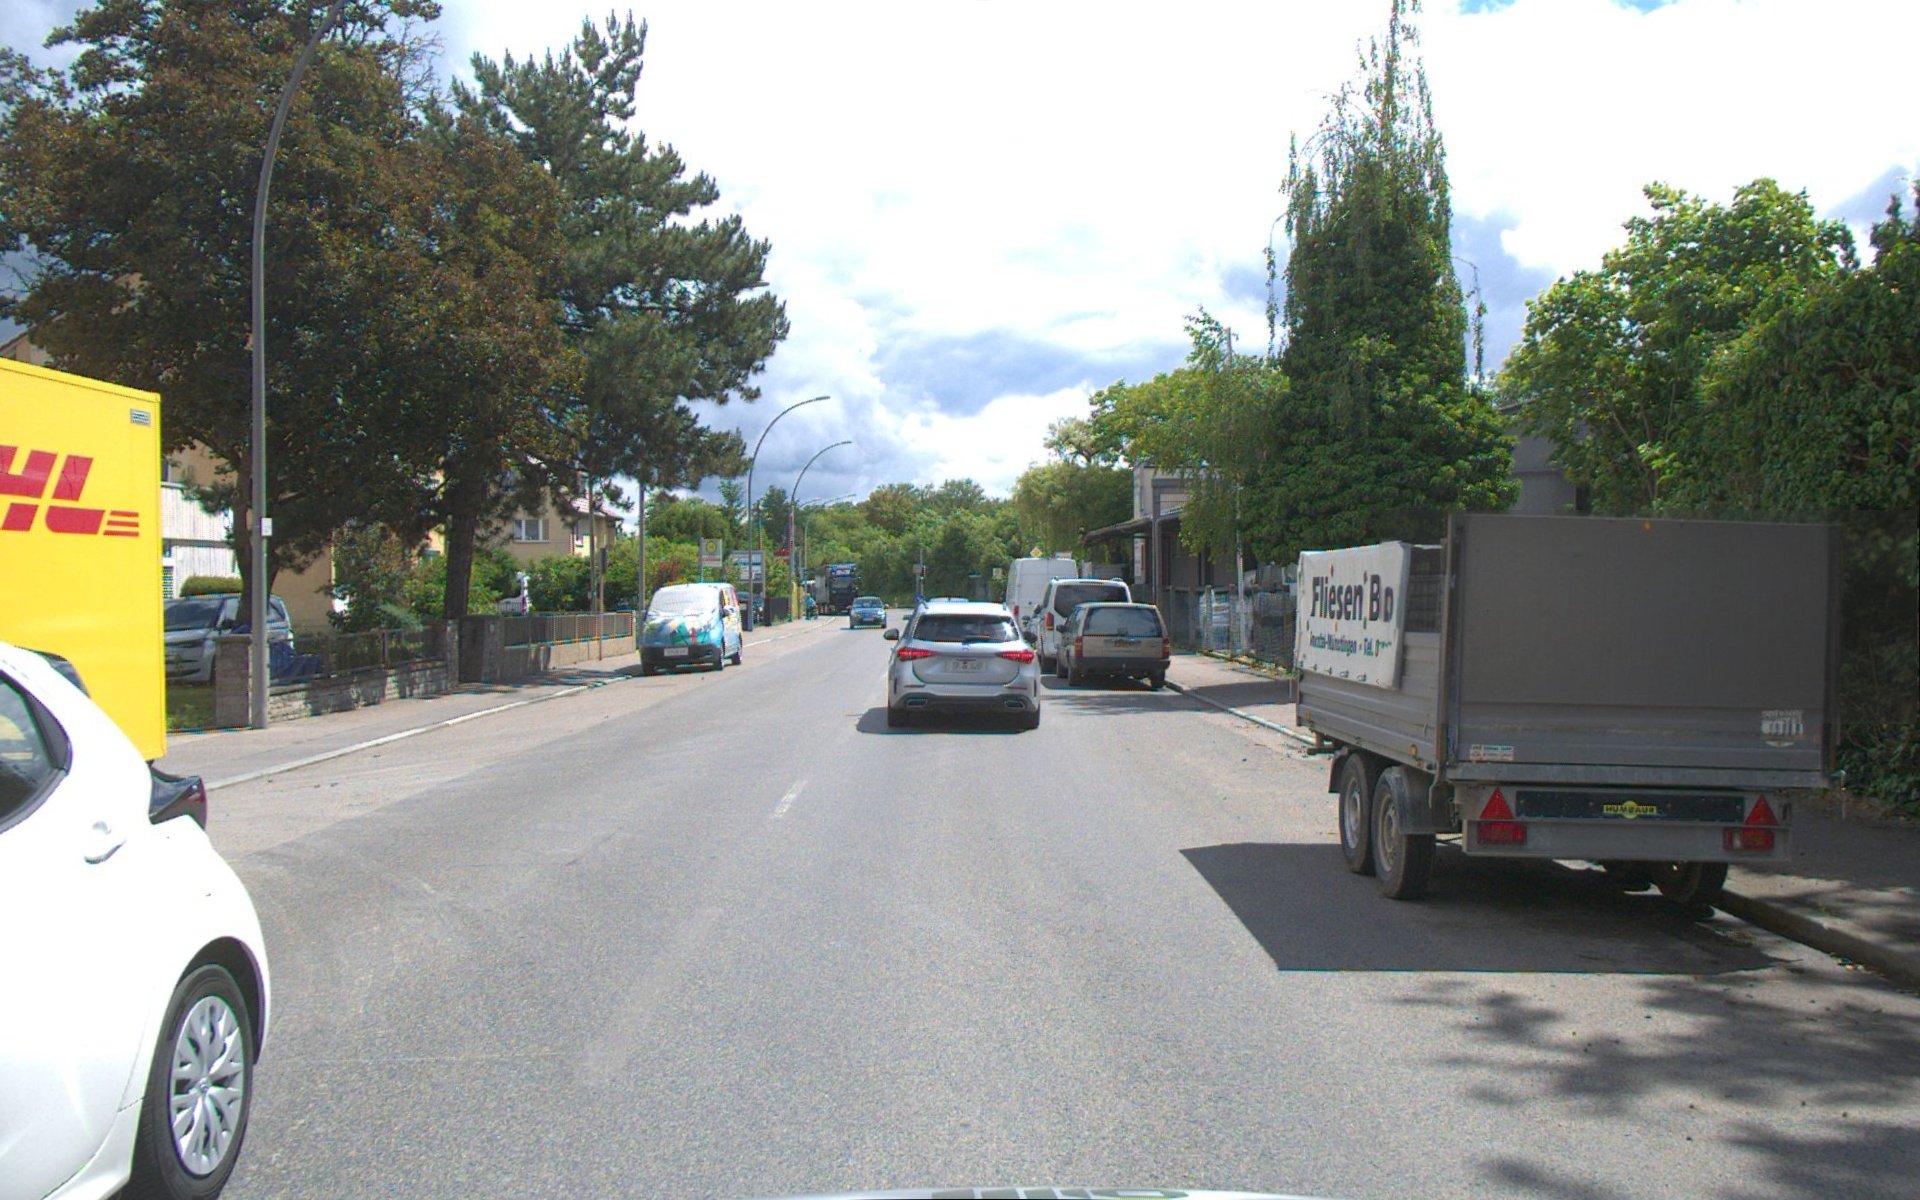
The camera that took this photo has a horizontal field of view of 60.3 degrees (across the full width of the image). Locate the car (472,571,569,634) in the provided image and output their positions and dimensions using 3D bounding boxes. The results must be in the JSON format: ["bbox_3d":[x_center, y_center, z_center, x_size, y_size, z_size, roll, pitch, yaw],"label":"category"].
[{"bbox_3d":[-19.411,0.097,73.399,2.362,2.539,6.137,-3,0,2],"label":"car"}]

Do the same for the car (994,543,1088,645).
[{"bbox_3d":[2.293,-0.165,48.523,2.170,2.736,6.655,-2,0,-2],"label":"car"}]

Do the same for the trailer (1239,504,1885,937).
[{"bbox_3d":[3.023,0.520,9.574,1.953,1.855,4.764,1,0,-1],"label":"trailer"}]

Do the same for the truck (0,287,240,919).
[{"bbox_3d":[-5.731,0.054,6.721,2.277,3.055,7.815,-3,0,-2],"label":"truck"}]

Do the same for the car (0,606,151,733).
[{"bbox_3d":[-12.831,0.892,22.631,1.732,1.570,4.084,-1,0,-4],"label":"car"}]

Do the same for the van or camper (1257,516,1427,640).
[{"bbox_3d":[10.292,-0.566,45.360,2.823,3.114,6.911,-1,0,-2],"label":"van or camper"}]

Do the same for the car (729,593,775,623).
[{"bbox_3d":[-11.256,0.408,89.751,2.110,1.533,4.265,-1,0,-3],"label":"car"}]

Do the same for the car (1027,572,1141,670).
[{"bbox_3d":[2.580,0.409,35.693,1.867,1.918,5.388,1,0,-2],"label":"car"}]

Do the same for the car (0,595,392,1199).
[{"bbox_3d":[-2.521,0.743,2.699,1.942,1.445,3.998,-2,0,-3],"label":"car"}]

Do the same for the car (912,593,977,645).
[{"bbox_3d":[-0.519,0.552,51.100,1.847,1.535,3.998,-1,0,-3],"label":"car"}]

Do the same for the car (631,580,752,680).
[{"bbox_3d":[-5.821,0.587,36.438,1.796,1.885,4.895,-4,1,-1],"label":"car"}]

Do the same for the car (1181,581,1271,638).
[{"bbox_3d":[7.565,0.232,47.425,1.728,1.515,4.926,-1,1,-1],"label":"car"}]

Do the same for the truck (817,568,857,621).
[{"bbox_3d":[-10.060,-0.412,135.045,2.384,4.203,9.130,1,0,-9],"label":"truck"}]

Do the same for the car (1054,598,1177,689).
[{"bbox_3d":[2.729,0.718,30.048,1.719,1.476,4.993,1,0,0],"label":"car"}]

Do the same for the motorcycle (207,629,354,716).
[{"bbox_3d":[-9.778,1.040,23.822,1.830,1.186,0.825,-1,0,16],"label":"motorcycle"}]

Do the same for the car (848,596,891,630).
[{"bbox_3d":[-4.281,0.601,78.597,1.862,1.544,4.317,-2,0,-2],"label":"car"}]

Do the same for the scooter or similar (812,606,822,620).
[{"bbox_3d":[-8.822,0.799,102.050,0.599,0.846,0.659,1,0,0],"label":"scooter or similar"}]

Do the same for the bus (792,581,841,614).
[{"bbox_3d":[-15.401,-0.223,176.712,2.733,3.323,12.067,-2,0,-16],"label":"bus"}]

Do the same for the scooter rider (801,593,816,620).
[{"bbox_3d":[-9.373,0.397,102.354,0.860,1.617,0.796,-1,0,-1],"label":"scooter rider"}]

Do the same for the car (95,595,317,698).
[{"bbox_3d":[-15.199,0.873,33.747,2.037,1.863,5.478,-2,0,-1],"label":"car"}]

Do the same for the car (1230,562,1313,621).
[{"bbox_3d":[10.909,-0.326,58.250,1.953,1.943,4.852,-1,1,-1],"label":"car"}]

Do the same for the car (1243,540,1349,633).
[{"bbox_3d":[10.342,-0.463,51.386,1.977,2.728,5.496,-1,1,-2],"label":"car"}]

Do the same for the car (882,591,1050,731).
[{"bbox_3d":[0.064,0.672,20.312,1.846,1.535,4.000,-1,0,0],"label":"car"}]
